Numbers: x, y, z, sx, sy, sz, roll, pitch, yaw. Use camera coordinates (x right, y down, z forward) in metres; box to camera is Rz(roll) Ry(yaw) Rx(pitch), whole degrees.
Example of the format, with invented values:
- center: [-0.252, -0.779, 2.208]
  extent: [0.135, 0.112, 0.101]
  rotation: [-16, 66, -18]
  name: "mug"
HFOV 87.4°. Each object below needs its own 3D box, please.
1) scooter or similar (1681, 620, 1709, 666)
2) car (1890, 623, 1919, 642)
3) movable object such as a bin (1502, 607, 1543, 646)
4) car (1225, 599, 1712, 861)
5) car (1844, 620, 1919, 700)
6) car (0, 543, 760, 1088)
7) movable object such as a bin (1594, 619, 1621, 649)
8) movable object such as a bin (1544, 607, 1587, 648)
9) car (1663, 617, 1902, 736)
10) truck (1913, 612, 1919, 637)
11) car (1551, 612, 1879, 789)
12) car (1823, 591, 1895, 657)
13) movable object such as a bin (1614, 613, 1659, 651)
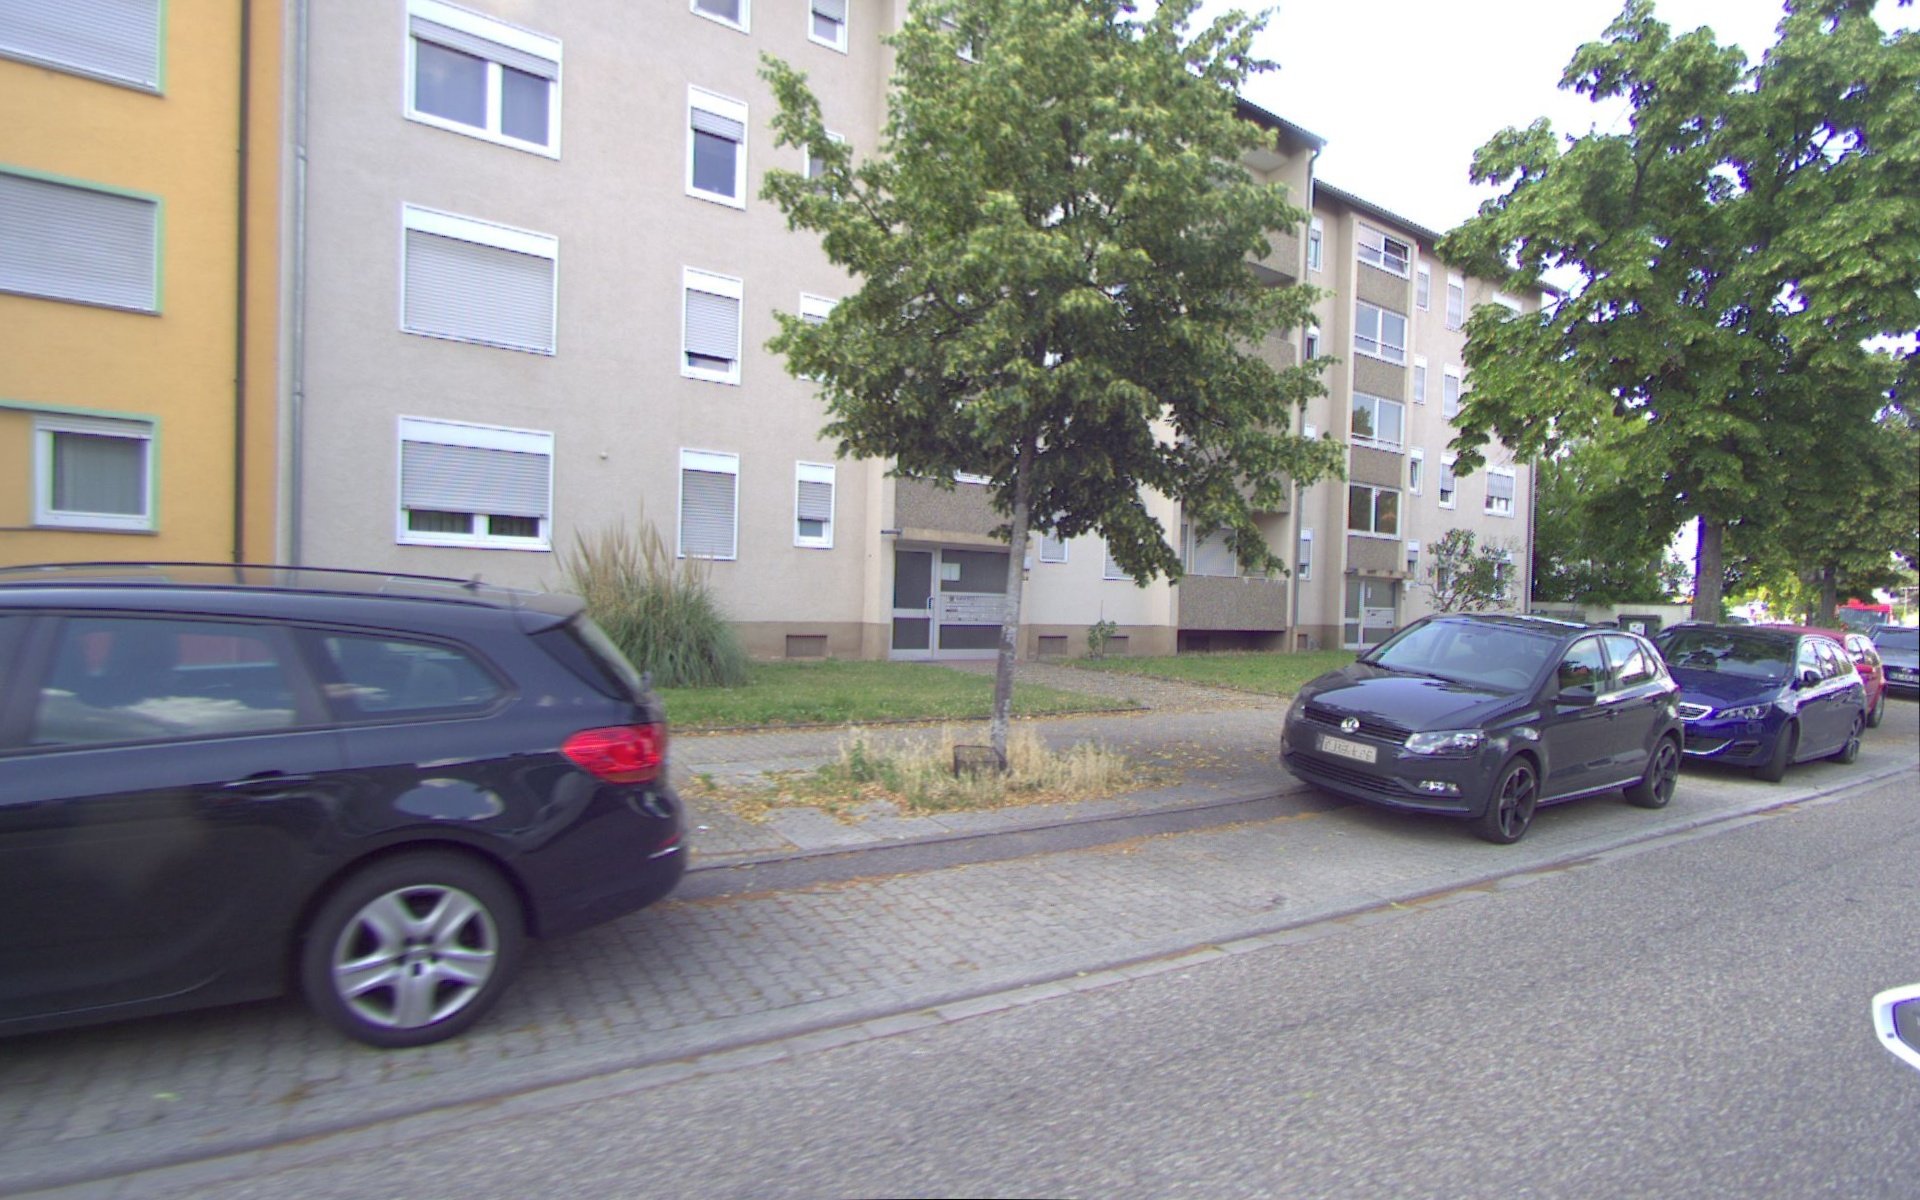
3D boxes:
- center: [19.848, 1.158, 27.120]
  extent: [0.415, 1.181, 1.133]
  rotation: [4, 2, 44]
  name: "scooter or similar"
- center: [82.120, 2.773, 87.104]
  extent: [1.772, 1.544, 4.512]
  rotation: [2, 1, 38]
  name: "car"
- center: [22.270, 1.029, 39.772]
  extent: [1.230, 1.457, 0.924]
  rotation: [0, 3, 43]
  name: "movable object such as a bin"
- center: [4.133, 0.825, 7.956]
  extent: [3.993, 1.509, 1.748]
  rotation: [1, 2, -36]
  name: "car"
- center: [20.739, 1.269, 22.010]
  extent: [1.742, 1.509, 4.316]
  rotation: [4, 2, 44]
  name: "car"
- center: [-3.124, 0.577, 3.506]
  extent: [4.447, 1.509, 1.753]
  rotation: [1, 1, -28]
  name: "car"
- center: [24.240, 1.268, 37.614]
  extent: [0.870, 1.038, 0.620]
  rotation: [-3, 3, -38]
  name: "movable object such as a bin"
- center: [23.074, 1.039, 38.273]
  extent: [1.182, 1.457, 1.364]
  rotation: [0, 3, 40]
  name: "movable object such as a bin"
- center: [12.575, 1.071, 15.295]
  extent: [4.053, 1.458, 1.823]
  rotation: [2, 3, -37]
  name: "car"
- center: [93.035, 2.355, 95.843]
  extent: [2.537, 2.290, 6.505]
  rotation: [2, 1, 39]
  name: "truck"
- center: [8.572, 1.005, 11.252]
  extent: [4.530, 1.509, 1.747]
  rotation: [3, 1, -38]
  name: "car"
- center: [39.388, 1.013, 44.097]
  extent: [2.040, 2.534, 5.810]
  rotation: [7, 4, 41]
  name: "car"
- center: [24.819, 1.150, 36.859]
  extent: [0.870, 1.292, 1.183]
  rotation: [-3, 3, -38]
  name: "movable object such as a bin"
